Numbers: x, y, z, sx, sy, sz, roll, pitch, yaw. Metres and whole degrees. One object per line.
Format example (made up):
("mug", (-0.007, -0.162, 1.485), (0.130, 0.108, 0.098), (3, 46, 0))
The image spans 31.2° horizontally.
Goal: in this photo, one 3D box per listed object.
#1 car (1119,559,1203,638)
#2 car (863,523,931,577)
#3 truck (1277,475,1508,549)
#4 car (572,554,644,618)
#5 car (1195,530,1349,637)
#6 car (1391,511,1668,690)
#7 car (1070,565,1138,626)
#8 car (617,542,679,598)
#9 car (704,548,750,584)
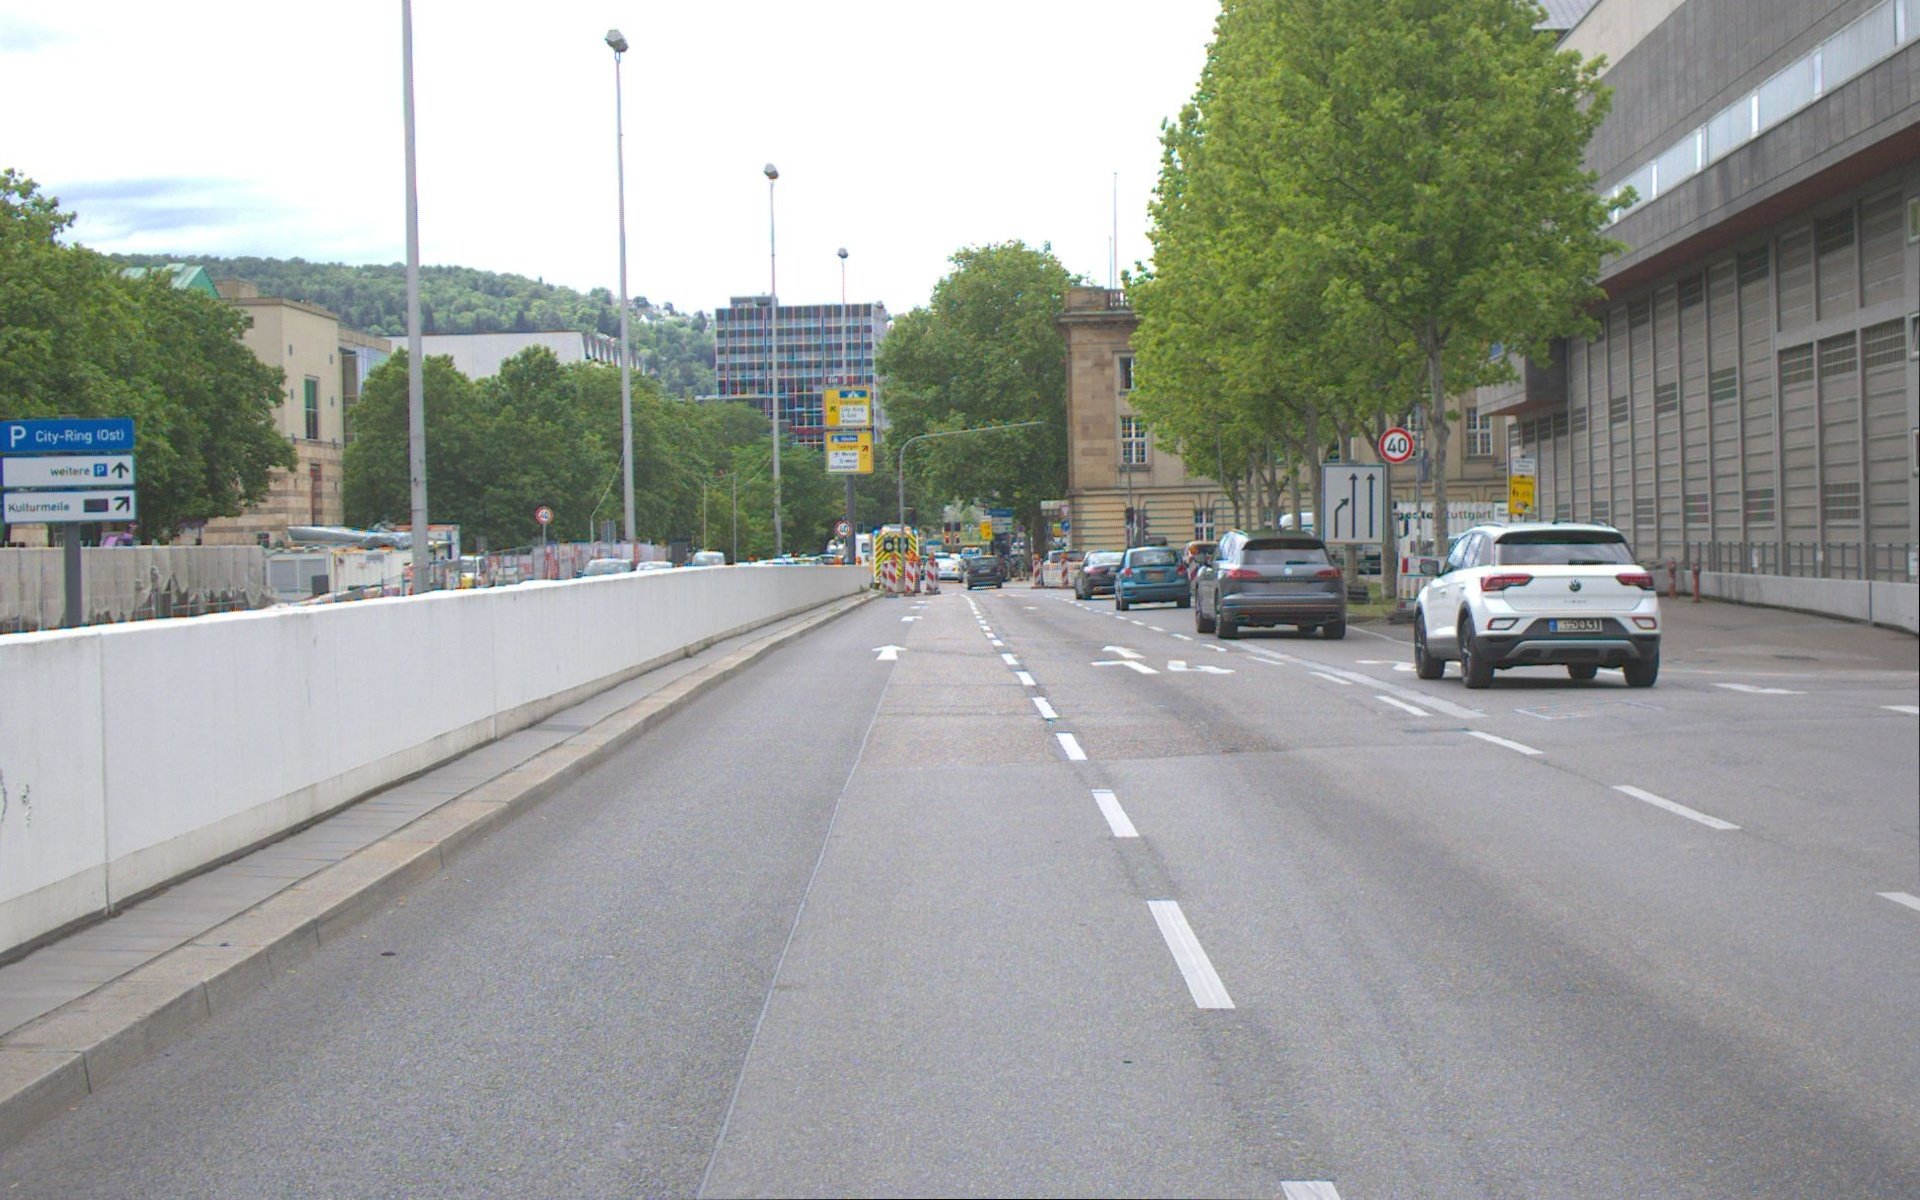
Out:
("car", (4.765, -0.070, 81.030), (1.823, 1.734, 4.479), (-2, 1, 5))
("car", (-2.883, -2.322, 158.692), (2.582, 2.366, 5.526), (-2, 1, 5))
("truck", (19.444, -3.945, 154.930), (10.030, 3.040, 2.569), (-1, 0, 1))
("car", (-11.923, -0.496, 116.523), (1.993, 2.006, 4.001), (-1, 2, 0))
("car", (4.844, -0.288, 53.879), (1.823, 1.562, 4.480), (-2, 1, -2))
("car", (5.434, 0.032, 33.337), (1.750, 1.562, 4.331), (-2, -1, -2))
("car", (4.407, -0.163, 104.840), (1.823, 1.734, 4.479), (-2, 1, 5))
("car", (-11.959, -1.163, 131.842), (1.993, 2.006, 4.001), (-1, 2, 0))
("car", (-10.877, -1.581, 160.447), (1.751, 1.562, 3.377), (-3, 0, 1))
